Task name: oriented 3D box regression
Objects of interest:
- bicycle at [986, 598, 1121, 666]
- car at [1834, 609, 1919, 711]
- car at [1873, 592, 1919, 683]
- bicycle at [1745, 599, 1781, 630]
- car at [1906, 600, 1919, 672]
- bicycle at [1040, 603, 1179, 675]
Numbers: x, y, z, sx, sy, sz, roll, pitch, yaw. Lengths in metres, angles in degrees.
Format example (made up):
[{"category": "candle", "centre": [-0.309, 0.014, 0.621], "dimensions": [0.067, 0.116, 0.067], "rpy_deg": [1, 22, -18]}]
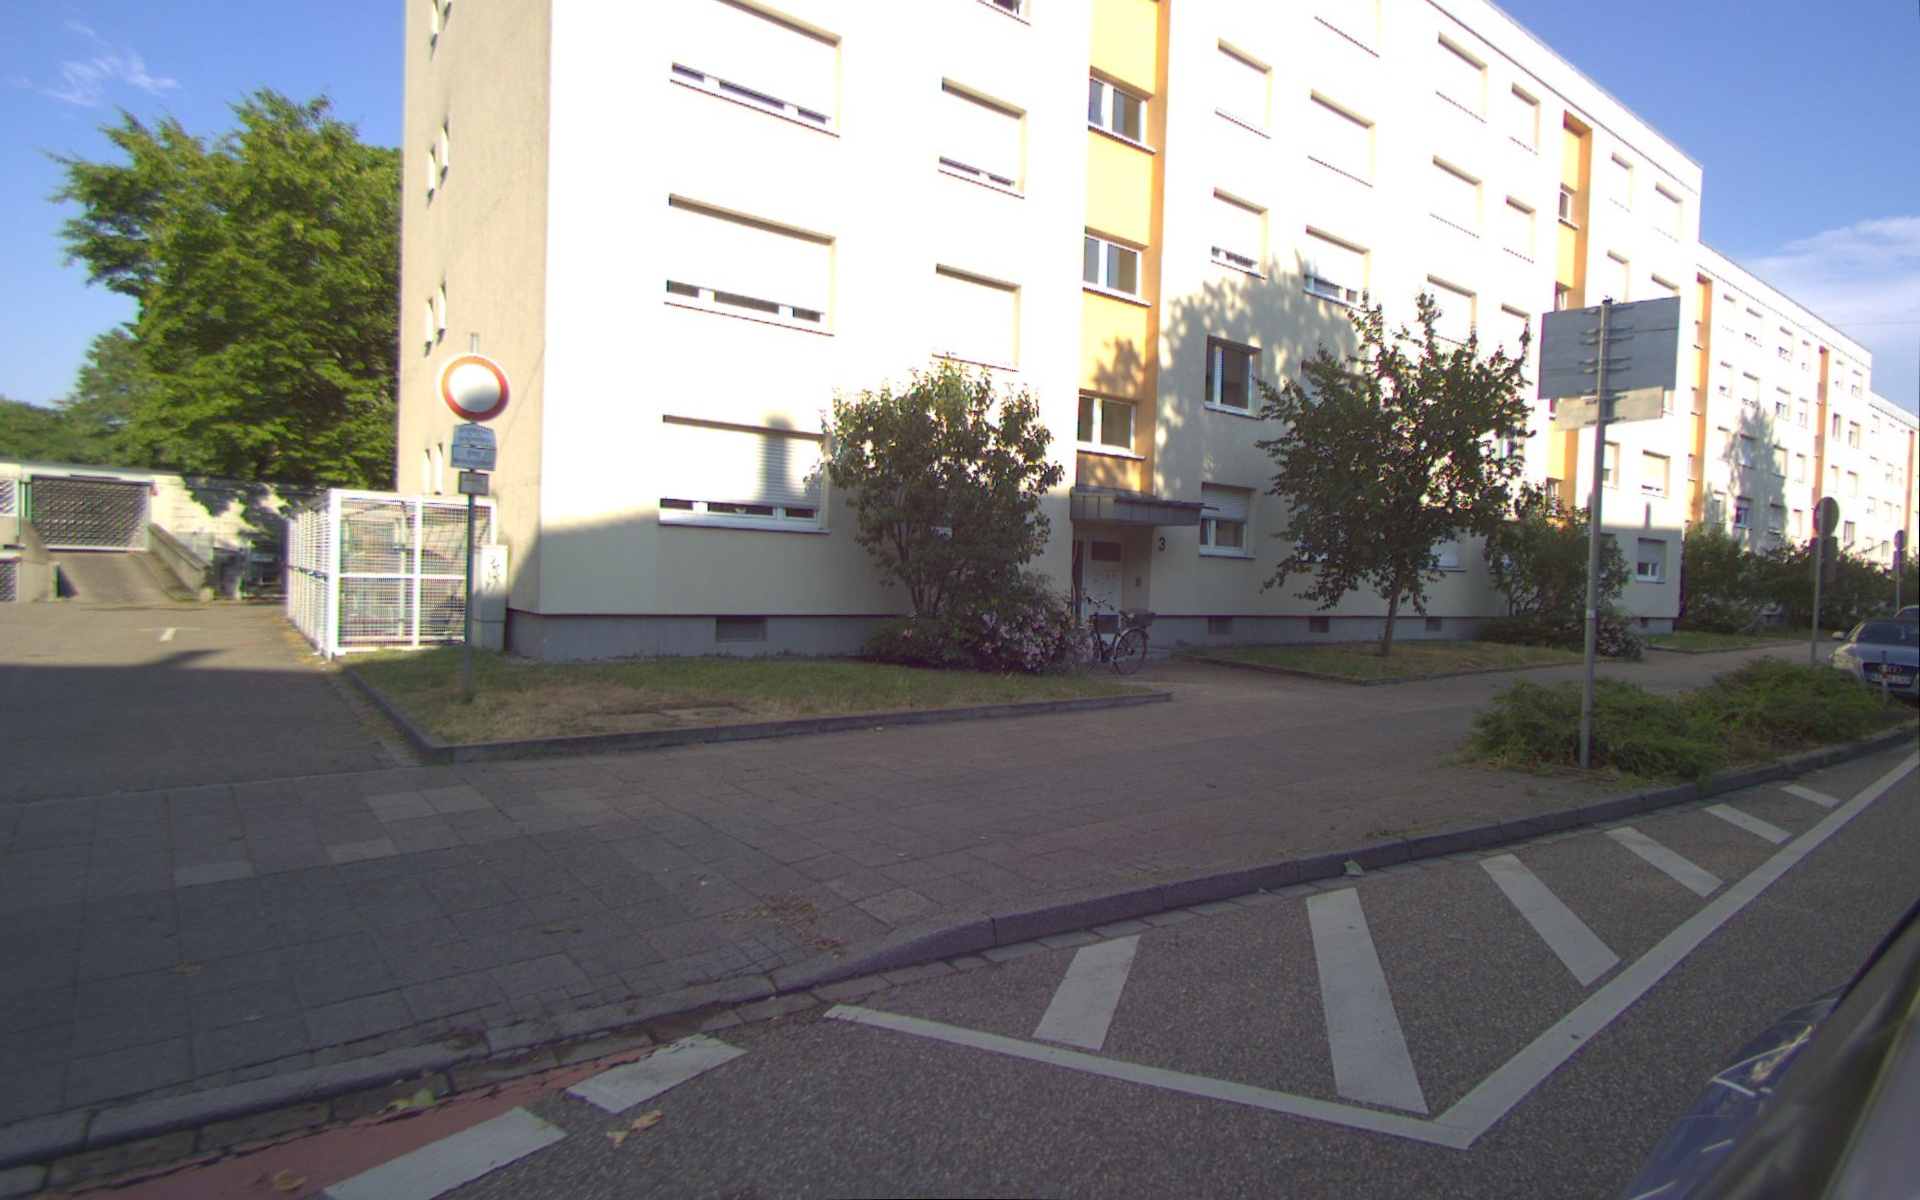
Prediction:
[{"category": "bicycle", "centre": [1.418, 0.484, 14.956], "dimensions": [2.190, 0.937, 0.637], "rpy_deg": [3, -2, -41]}, {"category": "car", "centre": [16.519, 0.980, 17.336], "dimensions": [3.930, 1.491, 1.744], "rpy_deg": [-1, 3, -41]}, {"category": "car", "centre": [20.246, 0.726, 20.575], "dimensions": [4.596, 1.679, 1.931], "rpy_deg": [-1, 2, -41]}, {"category": "bicycle", "centre": [30.196, 0.560, 38.041], "dimensions": [2.350, 1.095, 0.601], "rpy_deg": [2, 0, -41]}, {"category": "car", "centre": [24.264, 0.882, 24.218], "dimensions": [4.266, 1.672, 1.901], "rpy_deg": [1, 1, -41]}, {"category": "bicycle", "centre": [2.130, 0.544, 14.177], "dimensions": [2.190, 0.937, 0.637], "rpy_deg": [3, -2, -41]}]
